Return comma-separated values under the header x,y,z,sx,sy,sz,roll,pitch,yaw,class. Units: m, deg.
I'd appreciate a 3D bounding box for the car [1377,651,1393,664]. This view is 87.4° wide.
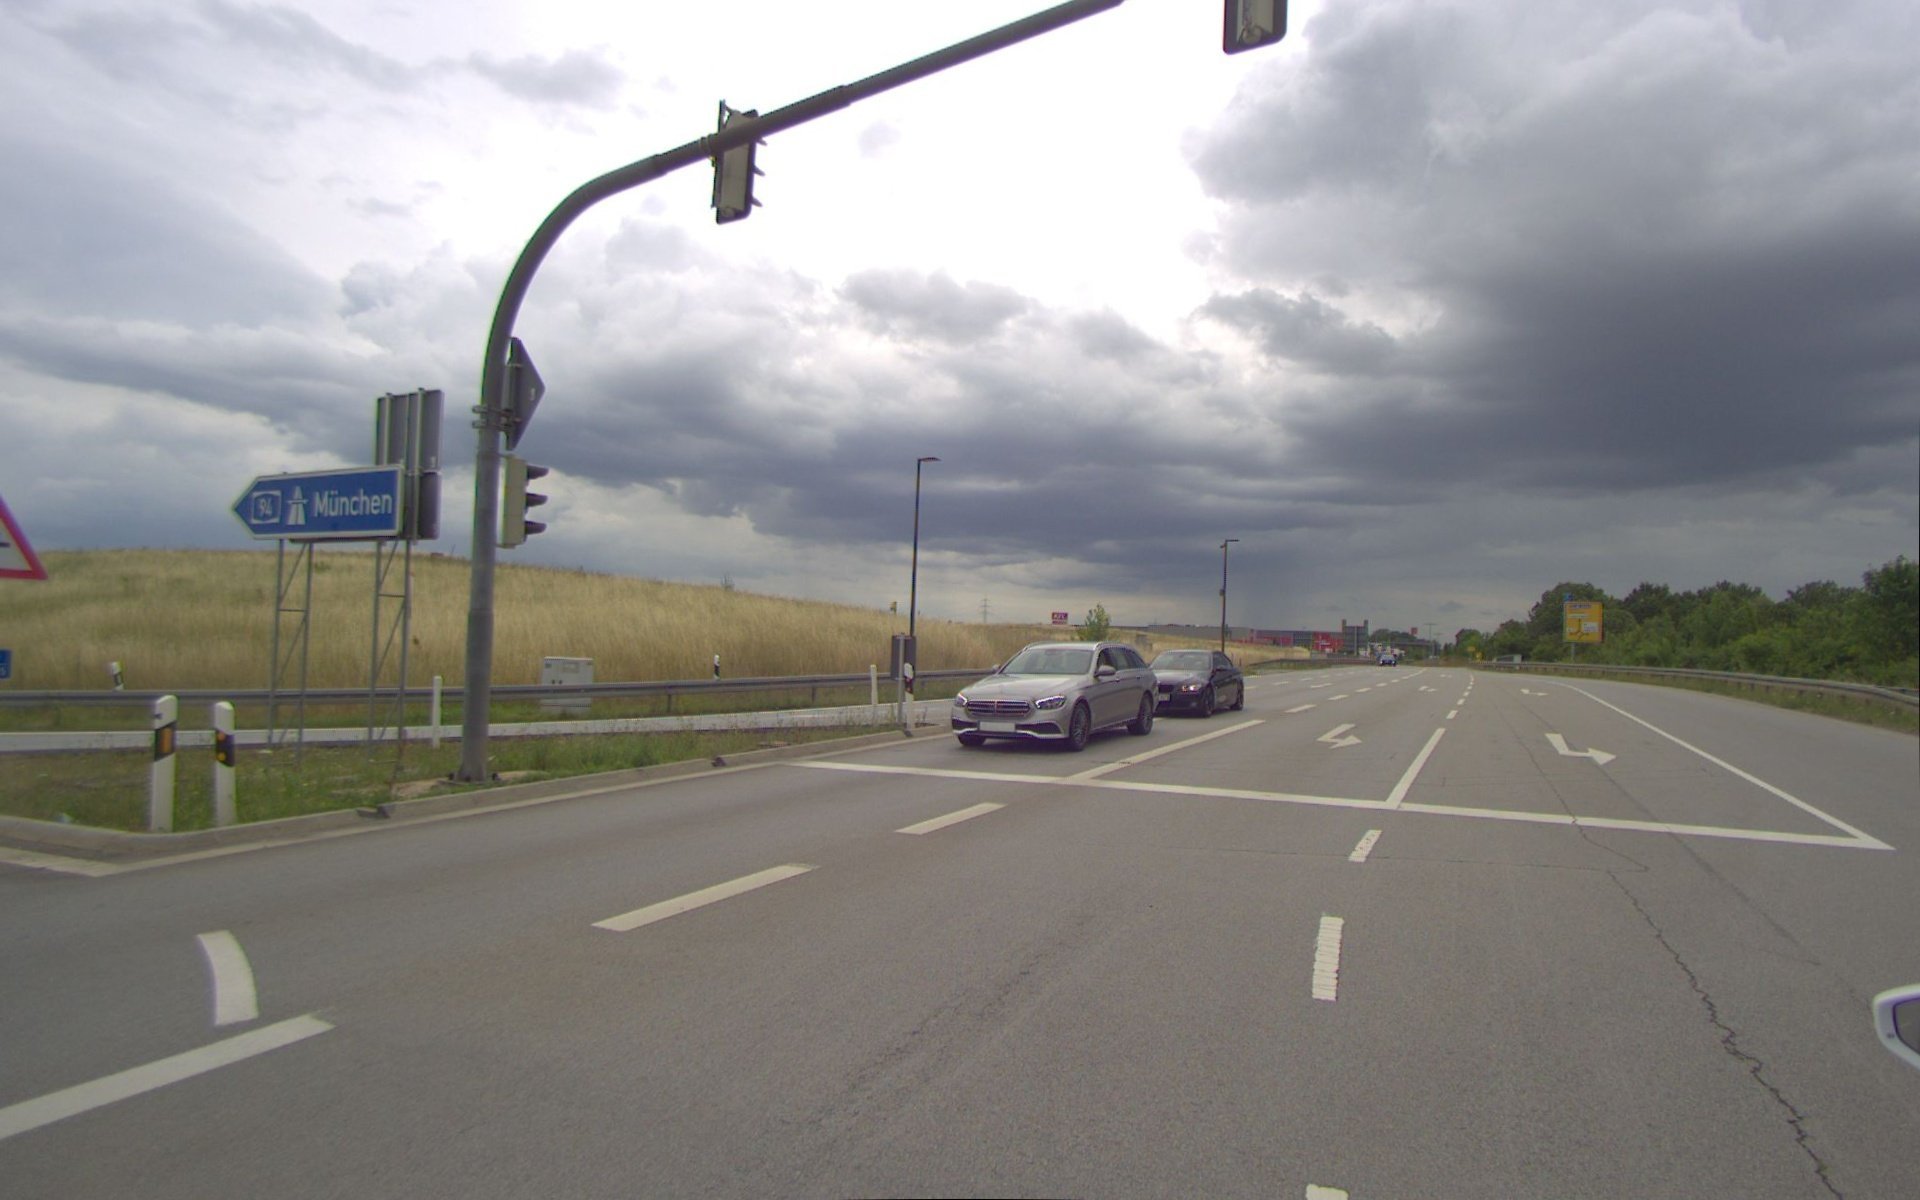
x,y,z,sx,sy,sz,roll,pitch,yaw,class
54.155,7.335,127.866,1.769,1.571,3.998,0,-3,25,car

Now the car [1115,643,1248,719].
x,y,z,sx,sy,sz,roll,pitch,yaw,class
4.941,1.708,21.908,1.681,1.429,4.670,0,-3,27,car

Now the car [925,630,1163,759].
x,y,z,sx,sy,sz,roll,pitch,yaw,class
1.490,1.318,15.351,1.886,1.631,4.943,-2,-3,27,car
